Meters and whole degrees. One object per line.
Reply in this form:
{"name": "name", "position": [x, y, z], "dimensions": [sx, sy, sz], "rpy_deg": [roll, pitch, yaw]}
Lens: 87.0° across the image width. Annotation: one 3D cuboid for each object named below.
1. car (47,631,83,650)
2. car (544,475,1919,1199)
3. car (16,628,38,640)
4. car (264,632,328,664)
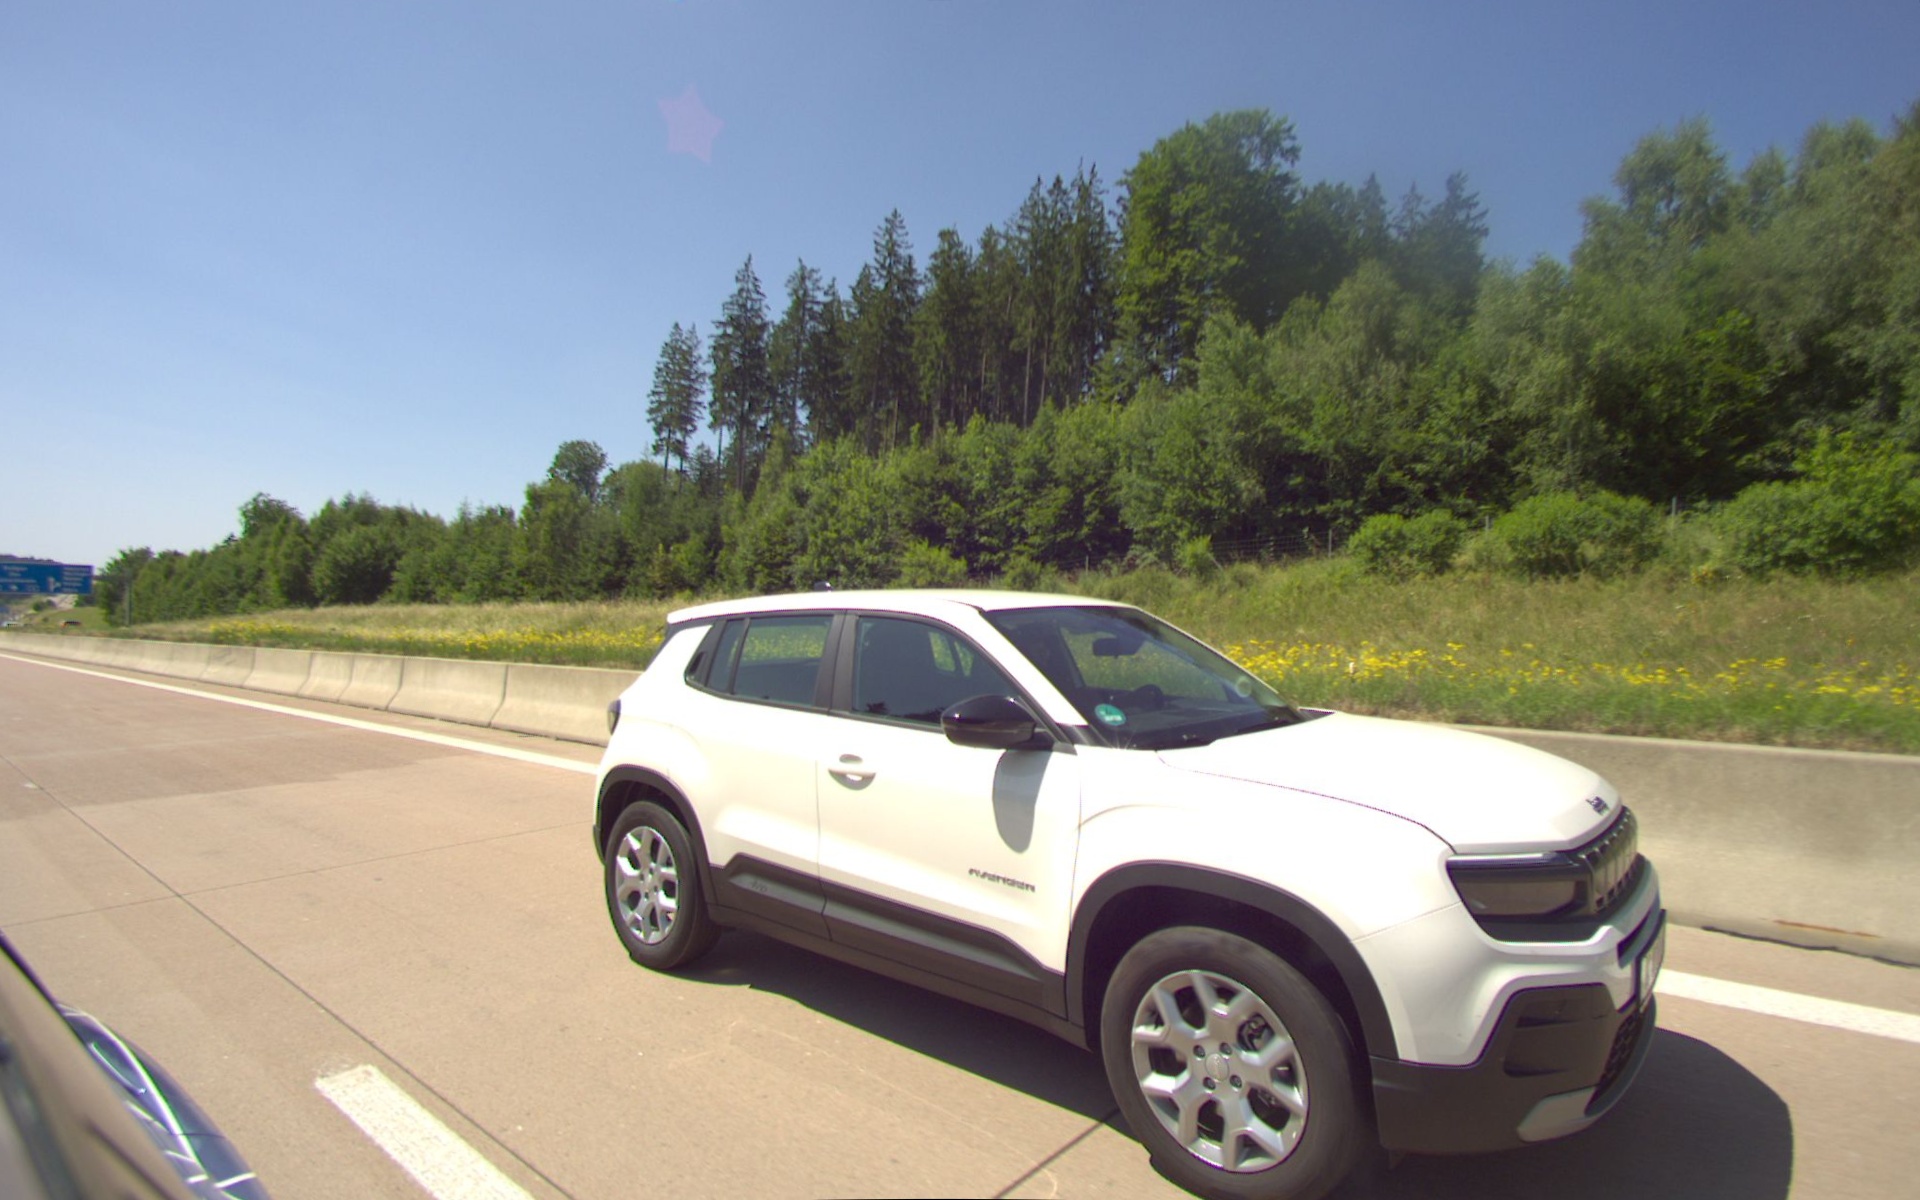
{"name": "car", "position": [-83.856, 3.766, 94.780], "dimensions": [4.460, 1.752, 1.872], "rpy_deg": [-2, -1, 40]}
{"name": "car", "position": [0.607, 0.640, 3.537], "dimensions": [4.831, 1.619, 1.859], "rpy_deg": [-1, -1, 41]}
{"name": "car", "position": [-132.293, 4.843, 143.540], "dimensions": [4.462, 1.606, 1.871], "rpy_deg": [-2, -1, 42]}
{"name": "car", "position": [-38.152, 2.733, 58.120], "dimensions": [4.459, 1.752, 1.872], "rpy_deg": [-2, -1, 39]}
